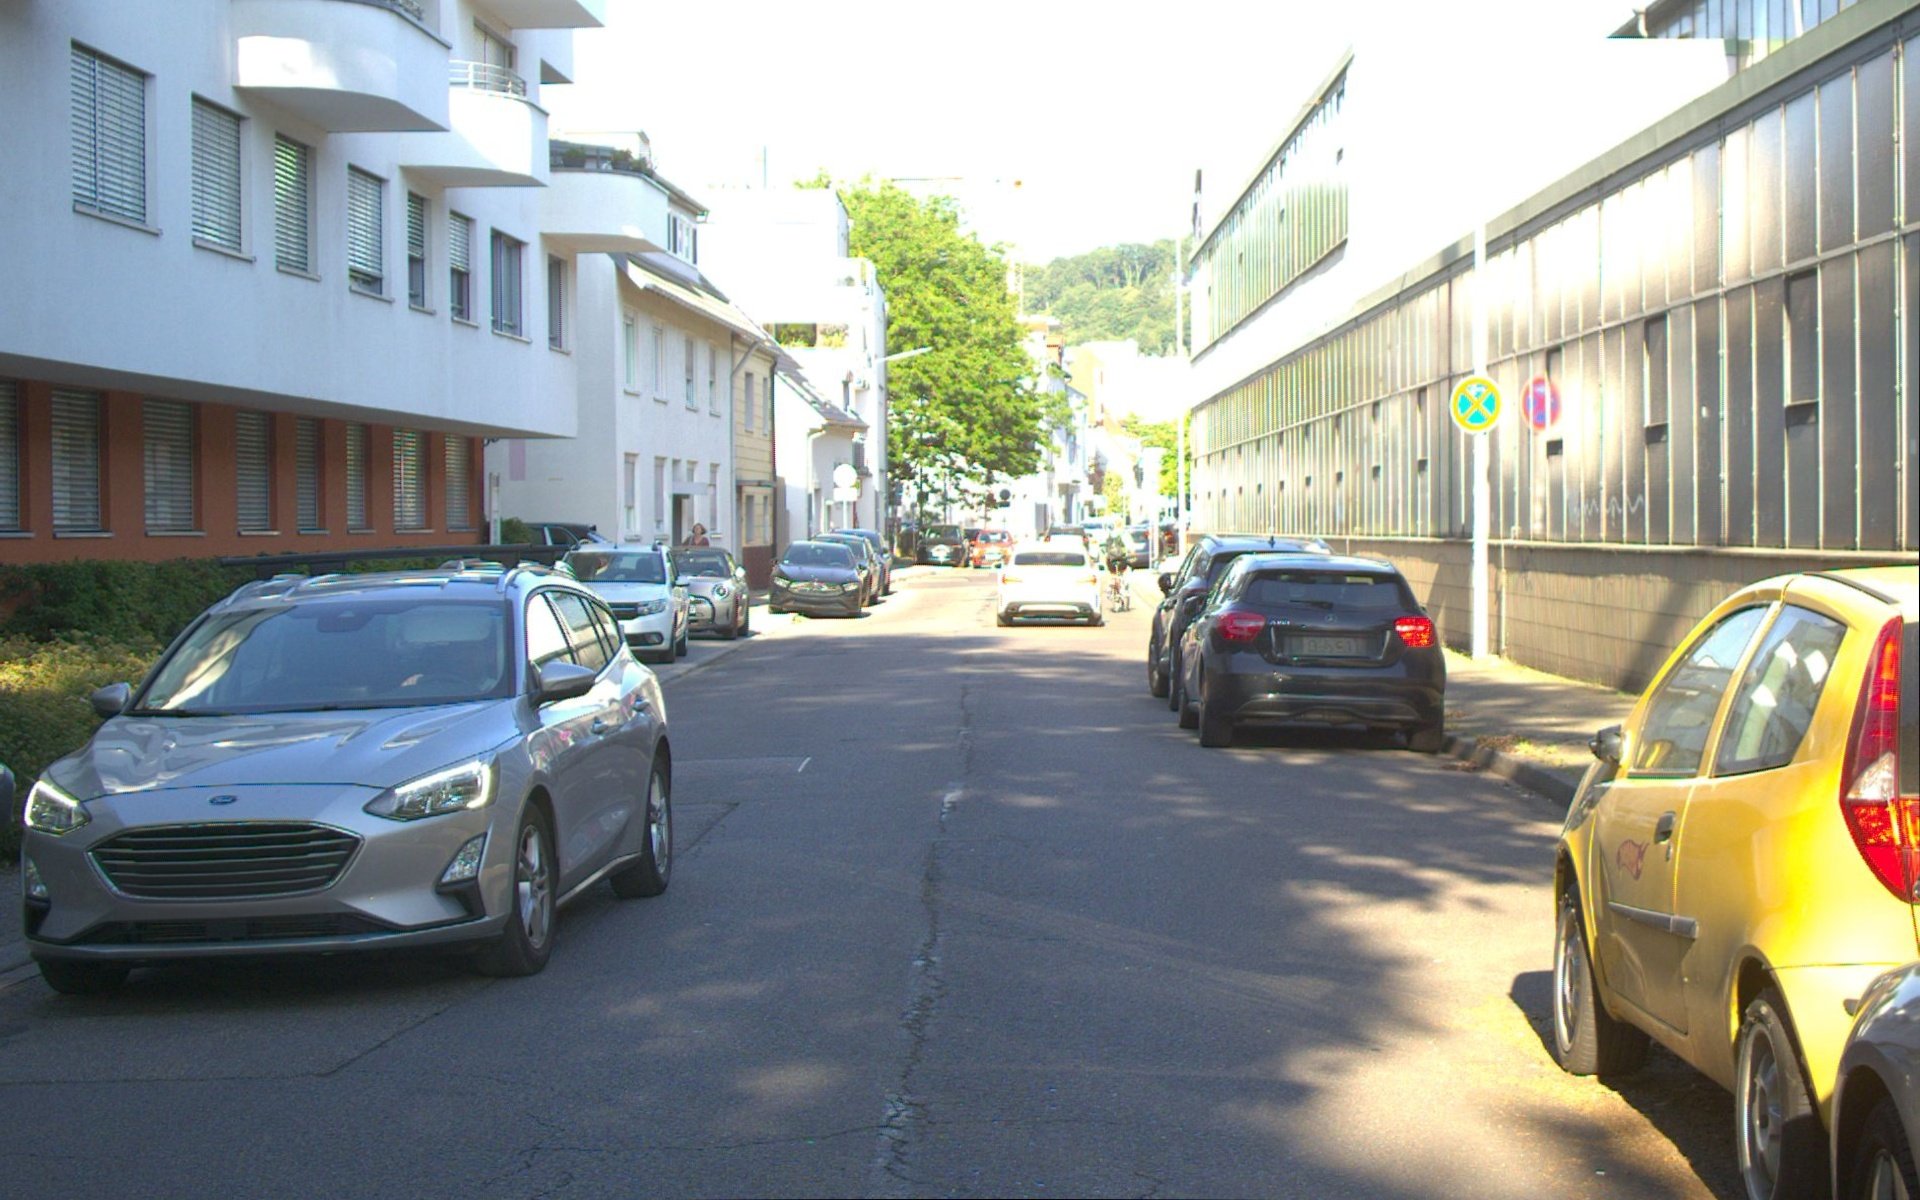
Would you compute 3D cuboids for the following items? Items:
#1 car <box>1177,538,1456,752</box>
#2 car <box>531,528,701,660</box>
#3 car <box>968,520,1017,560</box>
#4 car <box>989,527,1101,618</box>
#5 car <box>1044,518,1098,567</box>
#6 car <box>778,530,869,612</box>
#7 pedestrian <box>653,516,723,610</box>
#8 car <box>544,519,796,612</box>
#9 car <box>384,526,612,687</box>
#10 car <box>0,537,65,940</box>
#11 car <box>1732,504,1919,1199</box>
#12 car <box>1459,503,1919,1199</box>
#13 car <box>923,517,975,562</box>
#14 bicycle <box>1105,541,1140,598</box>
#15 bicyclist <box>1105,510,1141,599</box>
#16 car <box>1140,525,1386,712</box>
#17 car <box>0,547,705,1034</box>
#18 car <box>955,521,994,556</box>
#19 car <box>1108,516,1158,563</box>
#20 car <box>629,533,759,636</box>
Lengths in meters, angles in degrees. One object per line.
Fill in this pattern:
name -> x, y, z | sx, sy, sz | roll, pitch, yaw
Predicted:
car -> 2.694, 0.287, 26.900 | 1.750, 1.486, 4.621 | 1, 1, 1
car -> -4.433, -0.109, 44.895 | 1.857, 1.581, 4.622 | 1, 1, -2
car -> 1.263, -2.302, 132.303 | 1.842, 1.486, 4.144 | 0, 1, 1
car -> 1.436, -0.485, 58.840 | 1.842, 1.486, 4.144 | 0, 1, 1
car -> 4.163, -2.185, 129.194 | 1.853, 1.785, 4.608 | 0, 1, 0
car -> -2.664, -0.583, 67.415 | 1.684, 1.530, 4.335 | 1, 1, -2
pedestrian -> -5.428, -0.734, 68.675 | 0.862, 1.812, 1.130 | 4, 2, 25
car -> -5.123, -0.619, 61.155 | 4.320, 1.530, 1.690 | 1, 1, 0
car -> -4.416, 0.037, 33.329 | 1.674, 1.428, 3.771 | 1, 1, 0
car -> -5.849, 0.556, 14.092 | 3.946, 1.656, 1.700 | 0, 1, -27
car -> 2.336, 0.685, 4.411 | 1.750, 1.629, 4.309 | 0, 1, 1
car -> 2.512, 0.600, 8.904 | 1.750, 1.629, 4.002 | 0, 1, -1
car -> -0.445, -2.498, 140.994 | 1.853, 1.785, 4.607 | 0, 1, 3
bicycle -> 3.294, -0.616, 69.555 | 0.698, 1.126, 2.402 | 0, 1, 3
bicyclist -> 3.302, -0.919, 69.530 | 0.698, 1.784, 1.040 | 0, 1, 3
car -> 2.749, 0.130, 32.044 | 1.807, 1.581, 4.405 | 1, 1, -1
car -> -2.305, 0.607, 13.745 | 1.900, 1.531, 4.621 | -3, 1, 3
car -> 0.684, -2.861, 159.612 | 1.704, 1.570, 3.914 | 0, 1, 1
car -> 6.206, -2.173, 123.553 | 1.629, 1.581, 4.069 | -3, 1, 1
car -> -4.170, -0.258, 54.312 | 1.667, 1.530, 3.857 | 1, 1, 1
